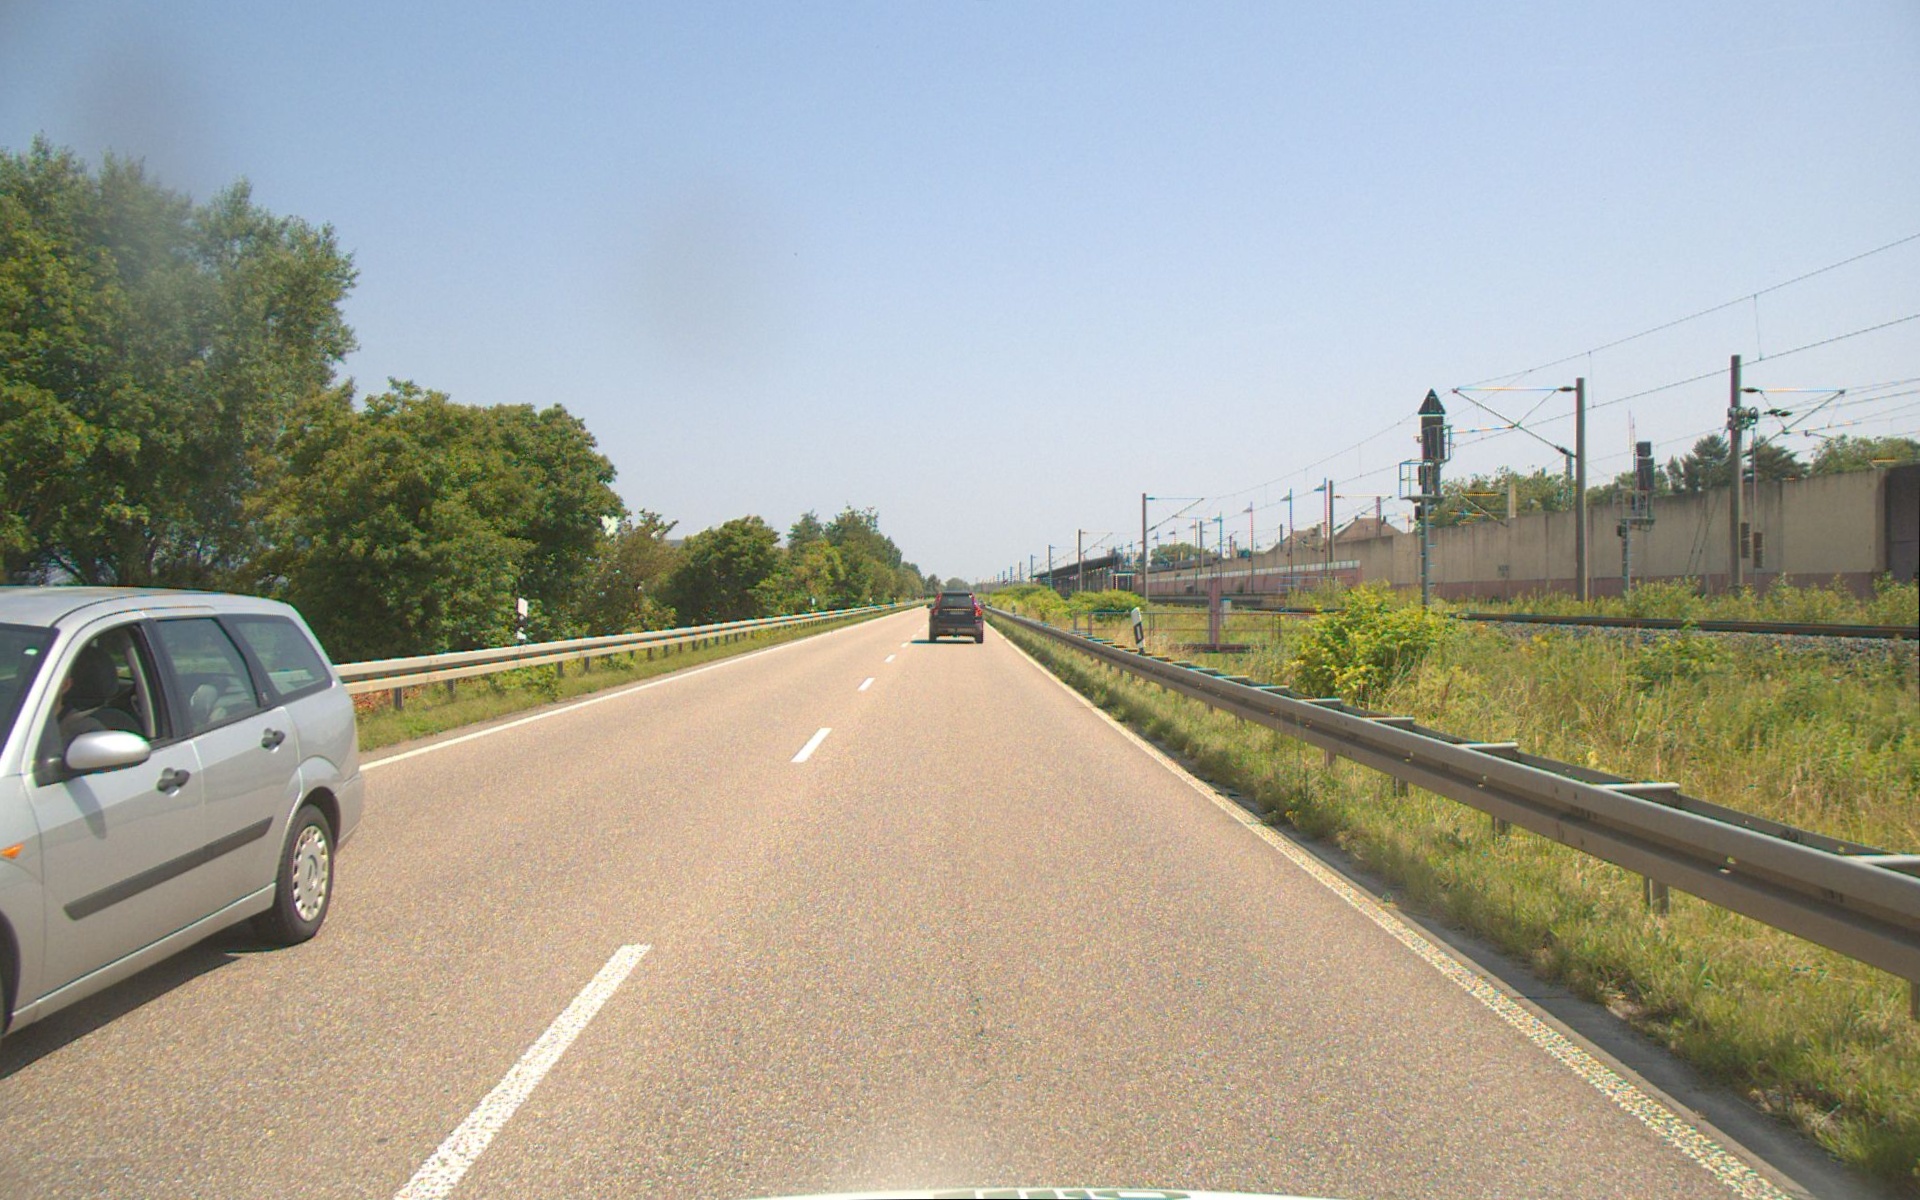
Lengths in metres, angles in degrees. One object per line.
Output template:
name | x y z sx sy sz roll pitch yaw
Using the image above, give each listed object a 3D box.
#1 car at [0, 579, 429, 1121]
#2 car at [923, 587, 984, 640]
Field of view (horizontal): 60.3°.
car | -3.497 0.677 6.000 1.664 1.500 4.685 1 0 -1
car | -0.256 0.436 56.581 1.953 1.730 3.998 0 0 -3
